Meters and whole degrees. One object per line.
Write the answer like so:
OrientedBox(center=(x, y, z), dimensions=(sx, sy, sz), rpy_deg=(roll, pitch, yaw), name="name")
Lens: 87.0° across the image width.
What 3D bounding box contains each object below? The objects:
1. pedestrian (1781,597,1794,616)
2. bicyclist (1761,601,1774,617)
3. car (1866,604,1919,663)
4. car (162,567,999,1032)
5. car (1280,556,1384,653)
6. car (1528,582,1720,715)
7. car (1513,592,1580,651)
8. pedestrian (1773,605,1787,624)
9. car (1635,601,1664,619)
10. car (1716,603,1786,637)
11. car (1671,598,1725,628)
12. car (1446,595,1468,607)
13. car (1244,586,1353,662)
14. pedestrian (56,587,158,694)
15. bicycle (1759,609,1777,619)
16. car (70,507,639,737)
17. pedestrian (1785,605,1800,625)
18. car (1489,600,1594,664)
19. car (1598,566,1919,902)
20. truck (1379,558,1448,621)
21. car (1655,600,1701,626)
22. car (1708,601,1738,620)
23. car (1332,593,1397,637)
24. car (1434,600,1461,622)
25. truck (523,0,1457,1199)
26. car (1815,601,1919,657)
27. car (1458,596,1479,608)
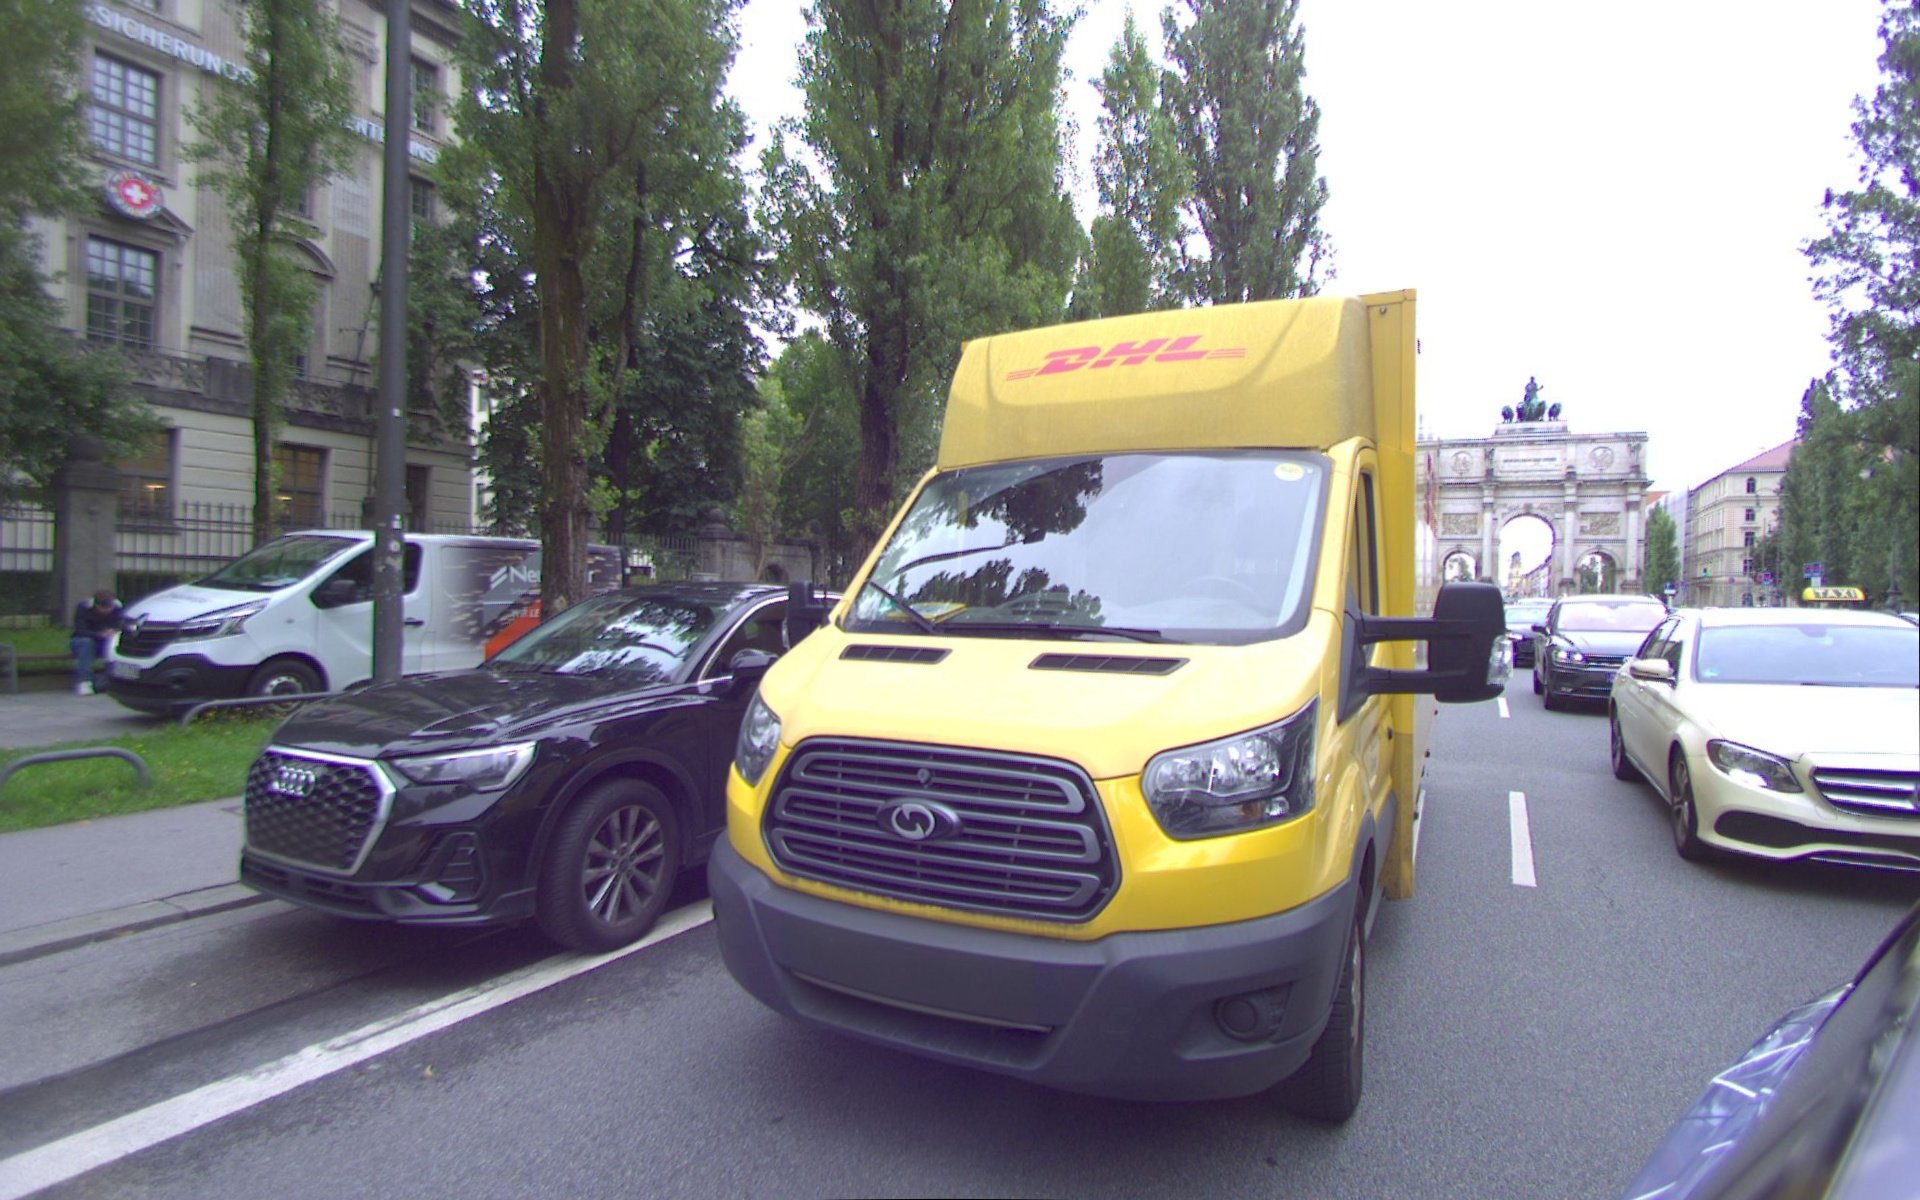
OrientedBox(center=(90.051, 0.699, 110.147), dimensions=(0.778, 2.039, 0.757), rpy_deg=(1, 0, -6), name="pedestrian")
OrientedBox(center=(78.596, 0.905, 98.469), dimensions=(0.843, 1.517, 0.697), rpy_deg=(1, 0, -26), name="bicyclist")
OrientedBox(center=(28.060, 0.966, 29.075), dimensions=(1.879, 1.604, 4.609), rpy_deg=(3, 1, 28), name="car")
OrientedBox(center=(-1.508, 0.630, 5.617), dimensions=(1.716, 1.514, 4.280), rpy_deg=(1, 1, 29), name="car")
OrientedBox(center=(10.948, 0.100, 29.462), dimensions=(2.062, 2.510, 6.222), rpy_deg=(0, 0, 28), name="car")
OrientedBox(center=(9.578, 0.588, 14.950), dimensions=(1.936, 1.645, 4.368), rpy_deg=(-1, 0, 28), name="car")
OrientedBox(center=(20.170, 0.690, 34.952), dimensions=(1.874, 1.880, 4.269), rpy_deg=(1, 1, 29), name="car")
OrientedBox(center=(72.803, 1.298, 89.882), dimensions=(0.951, 1.699, 0.845), rpy_deg=(1, 0, -44), name="pedestrian")
OrientedBox(center=(68.412, 0.970, 100.428), dimensions=(1.784, 1.676, 4.051), rpy_deg=(4, 2, 42), name="car")
OrientedBox(center=(38.720, 0.944, 49.652), dimensions=(1.920, 1.516, 4.740), rpy_deg=(2, 0, 29), name="car")
OrientedBox(center=(45.512, 0.783, 62.519), dimensions=(1.926, 1.644, 4.917), rpy_deg=(2, 2, 28), name="car")
OrientedBox(center=(77.265, 0.106, 157.377), dimensions=(1.783, 1.772, 4.251), rpy_deg=(2, 1, 44), name="car")
OrientedBox(center=(8.014, 0.491, 23.742), dimensions=(1.810, 1.610, 4.182), rpy_deg=(0, 0, 28), name="car")
OrientedBox(center=(-9.704, 0.436, 11.517), dimensions=(0.698, 1.156, 0.717), rpy_deg=(2, 0, 34), name="pedestrian")
OrientedBox(center=(78.634, 1.331, 98.492), dimensions=(1.699, 0.951, 0.711), rpy_deg=(1, 0, -25), name="bicycle")
OrientedBox(center=(-6.295, 0.154, 11.402), dimensions=(1.981, 1.949, 5.273), rpy_deg=(1, 1, 27), name="car")
OrientedBox(center=(73.355, 1.311, 89.167), dimensions=(0.951, 1.699, 0.845), rpy_deg=(1, 0, -44), name="pedestrian")
OrientedBox(center=(13.913, 0.707, 24.425), dimensions=(1.905, 1.344, 4.371), rpy_deg=(-1, 0, 27), name="car")
OrientedBox(center=(5.717, 0.614, 6.820), dimensions=(1.902, 1.595, 4.646), rpy_deg=(-1, 0, 26), name="car")
OrientedBox(center=(25.151, -0.561, 55.847), dimensions=(2.698, 3.149, 10.322), rpy_deg=(2, 1, 28), name="truck")
OrientedBox(center=(48.602, 0.837, 68.602), dimensions=(1.808, 1.578, 4.812), rpy_deg=(4, 2, 28), name="car")
OrientedBox(center=(85.793, 1.184, 113.809), dimensions=(1.989, 1.877, 4.938), rpy_deg=(3, 2, 30), name="car")
OrientedBox(center=(14.374, 0.501, 35.834), dimensions=(1.743, 1.468, 3.961), rpy_deg=(-1, -1, 28), name="car")
OrientedBox(center=(38.794, 0.824, 80.526), dimensions=(1.792, 1.649, 3.962), rpy_deg=(2, 1, 27), name="car")
OrientedBox(center=(1.402, -0.072, 5.680), dimensions=(2.313, 2.934, 7.262), rpy_deg=(1, 1, 27), name="truck")
OrientedBox(center=(30.017, 0.897, 33.371), dimensions=(1.772, 1.615, 4.568), rpy_deg=(4, 2, 28), name="car")
OrientedBox(center=(80.908, 0.322, 161.020), dimensions=(1.783, 1.772, 4.250), rpy_deg=(2, 1, 45), name="car")
